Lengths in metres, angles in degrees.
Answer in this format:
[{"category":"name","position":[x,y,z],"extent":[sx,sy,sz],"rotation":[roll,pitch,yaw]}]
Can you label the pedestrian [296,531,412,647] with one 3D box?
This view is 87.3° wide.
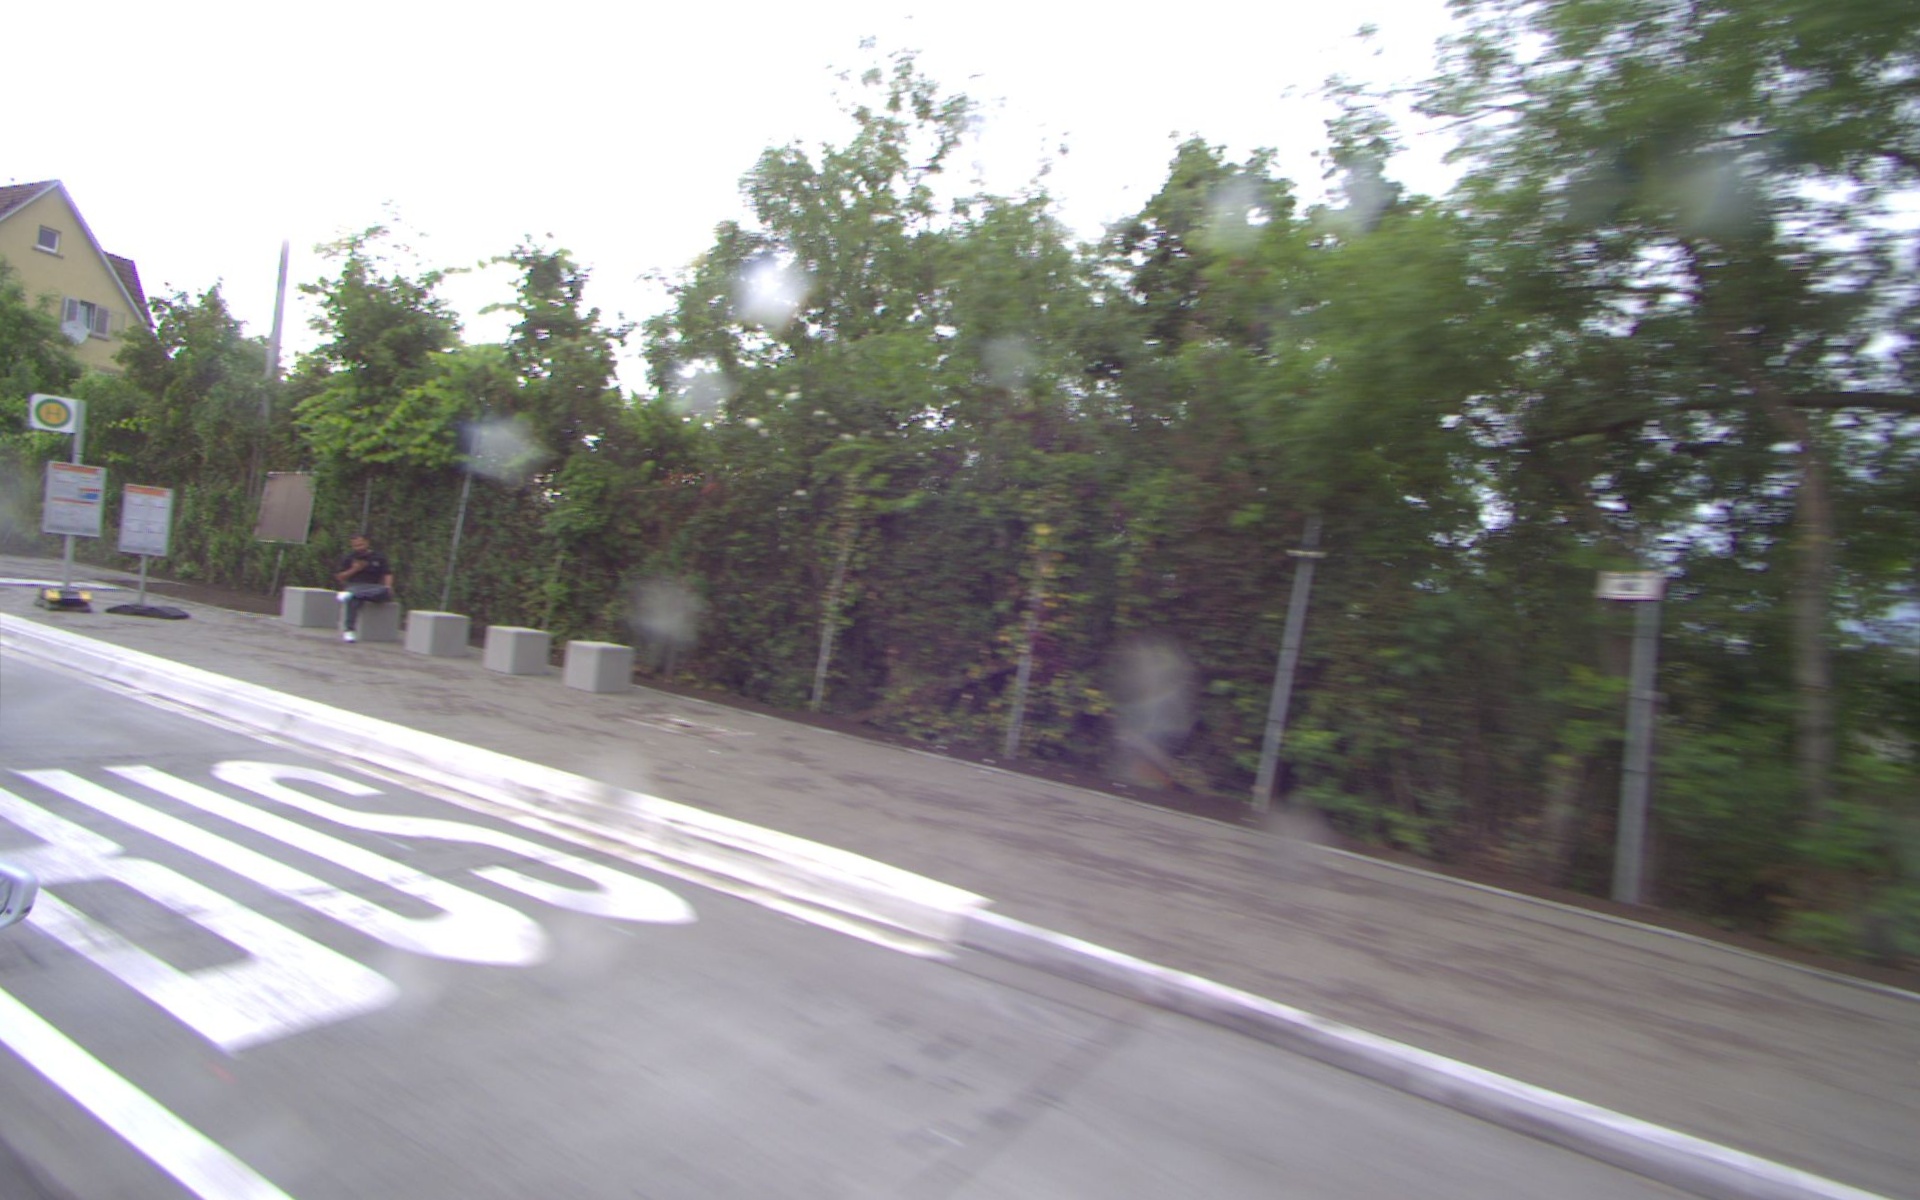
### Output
[{"category":"pedestrian","position":[-7.788,-0.133,12.980],"extent":[0.796,1.346,1.067],"rotation":[6,0,-7]}]
